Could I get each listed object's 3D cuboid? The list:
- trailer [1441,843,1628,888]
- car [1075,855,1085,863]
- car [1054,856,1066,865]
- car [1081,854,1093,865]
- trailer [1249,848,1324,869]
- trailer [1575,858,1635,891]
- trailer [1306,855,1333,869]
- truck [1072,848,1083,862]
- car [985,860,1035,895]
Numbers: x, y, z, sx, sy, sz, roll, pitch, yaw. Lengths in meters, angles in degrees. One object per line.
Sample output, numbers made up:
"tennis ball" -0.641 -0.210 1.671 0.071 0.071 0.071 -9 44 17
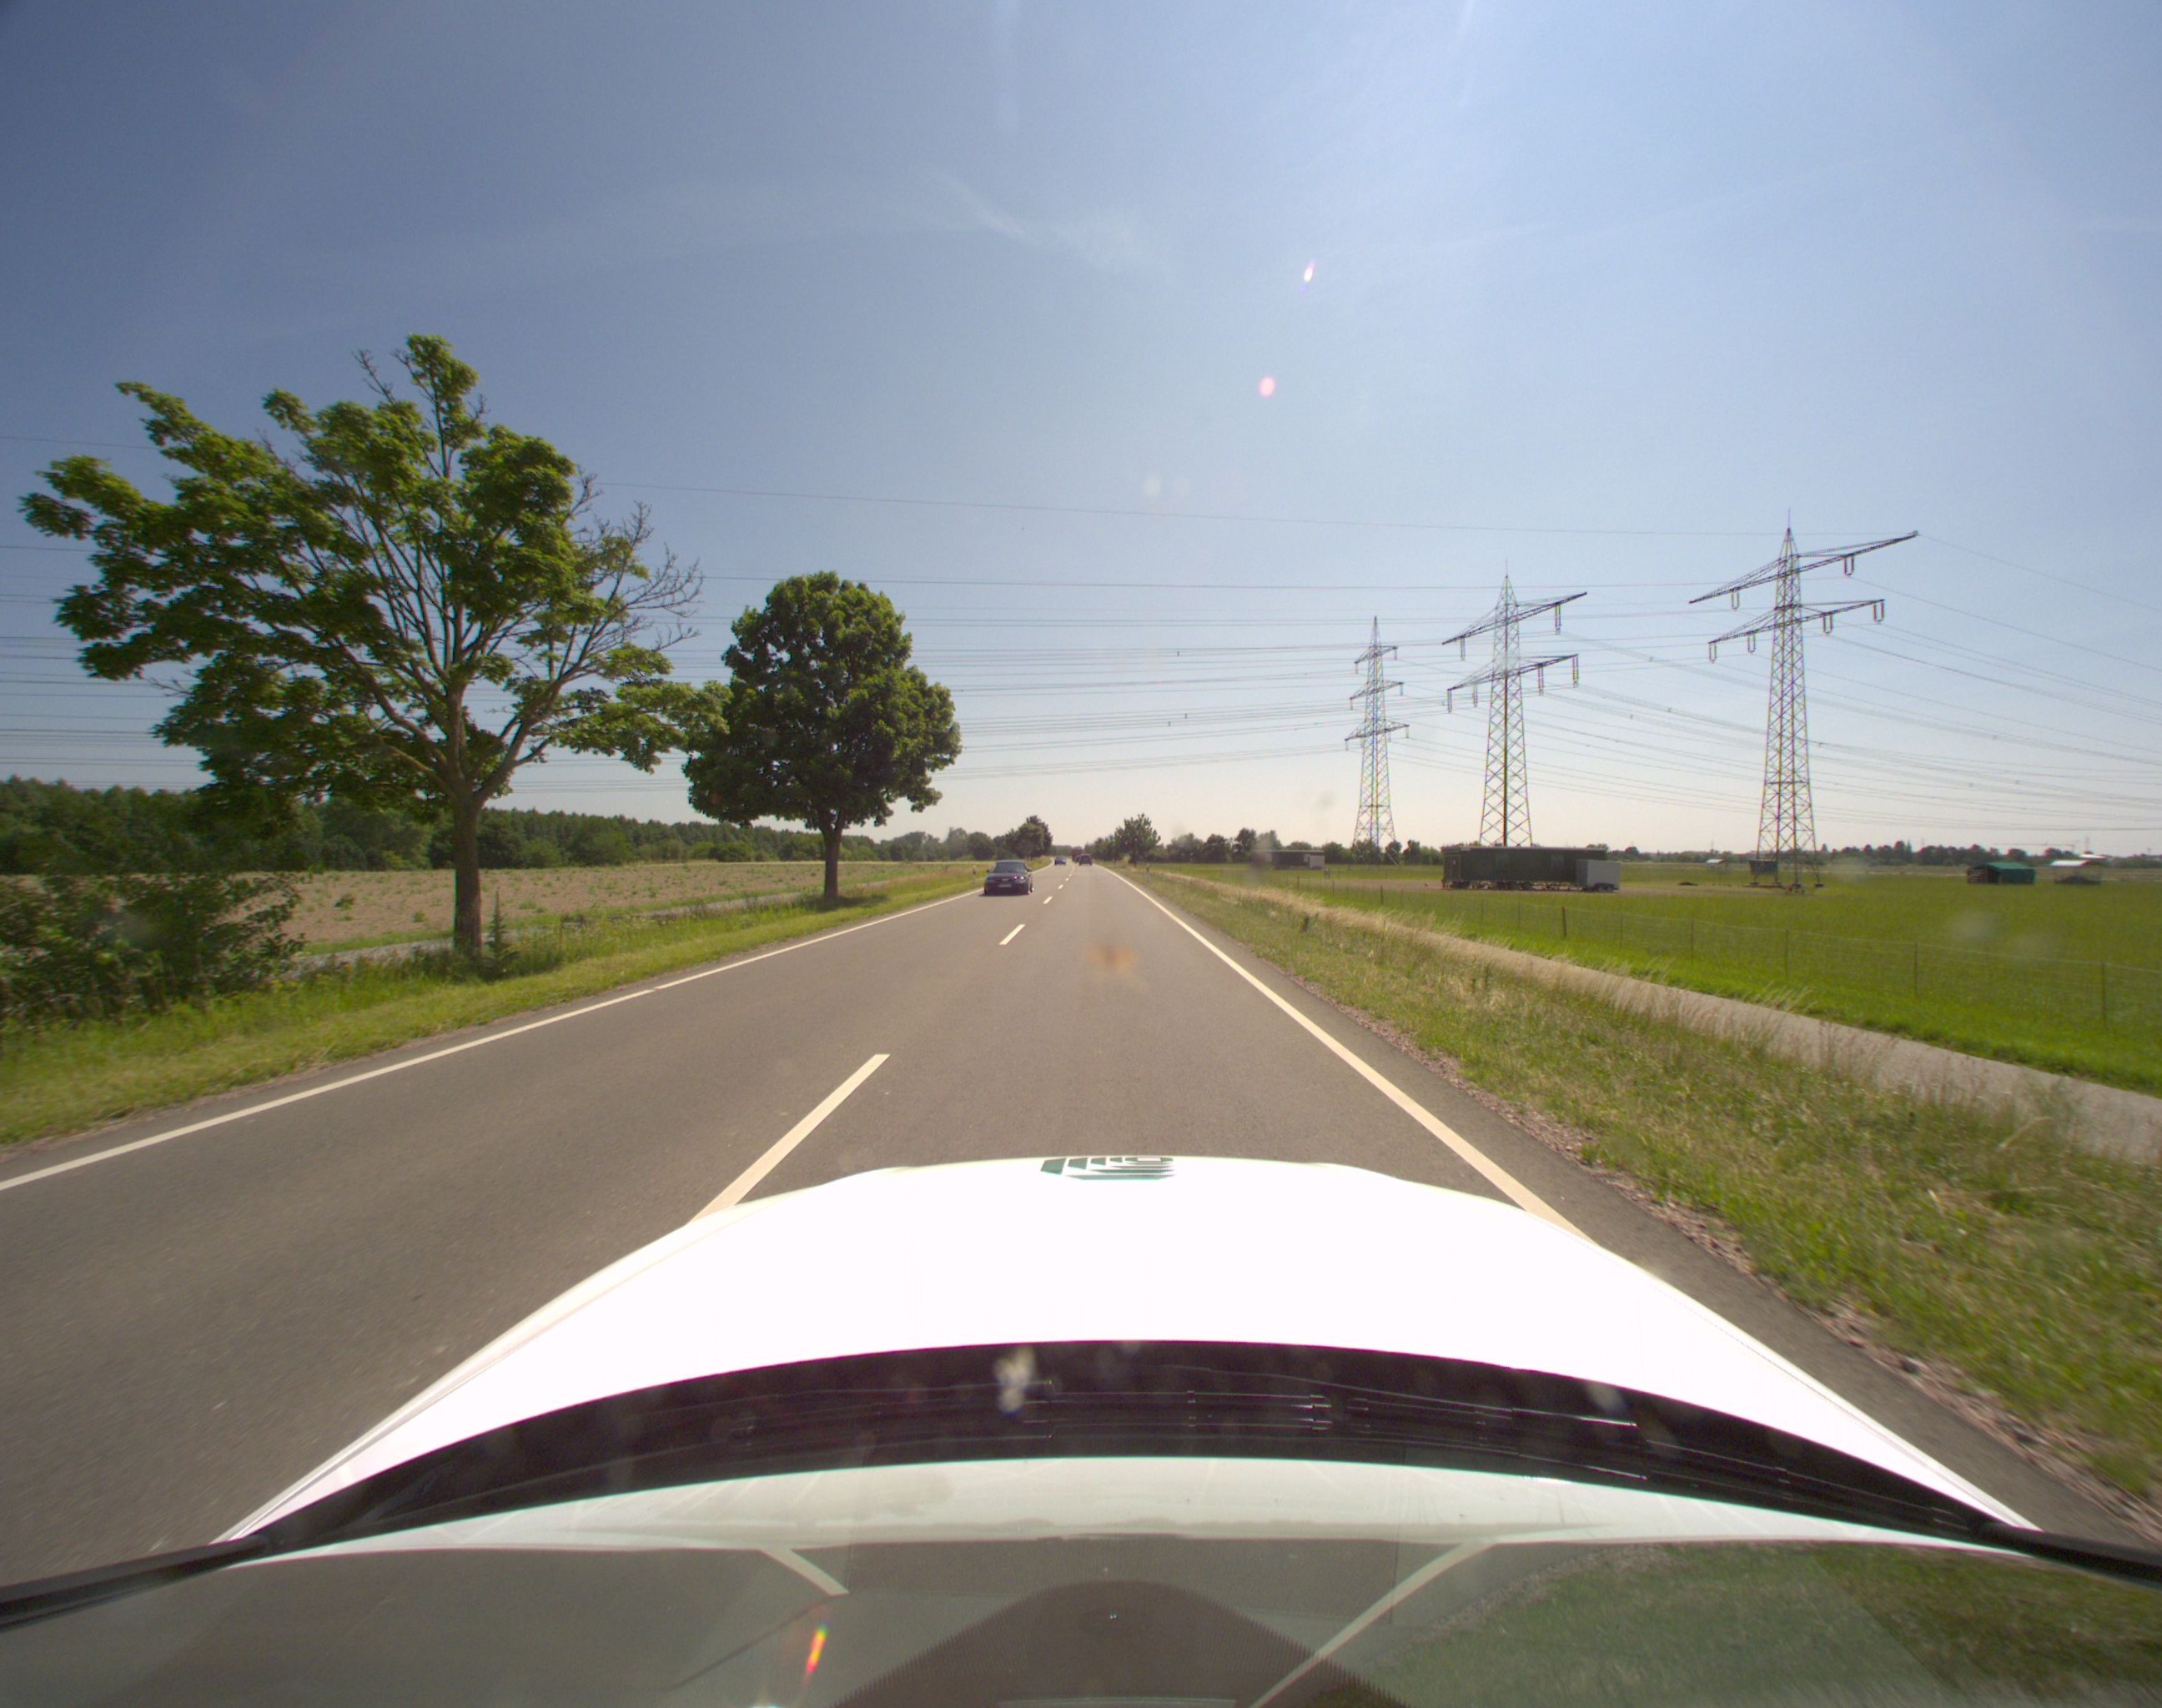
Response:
"trailer" 36.641 0.913 66.101 13.470 3.475 3.275 0 0 -1
"car" -0.174 1.048 158.401 1.845 1.523 3.998 -1 0 -1
"car" -3.367 1.045 129.477 1.728 1.447 4.001 -1 0 1
"car" 0.835 0.819 122.385 1.710 1.694 3.986 -1 0 -1
"trailer" 36.101 0.804 143.357 12.380 3.473 3.802 0 0 -3
"trailer" 40.726 1.567 63.380 3.397 2.462 2.037 0 0 -1
"trailer" 41.186 1.325 140.514 3.979 2.443 1.997 0 0 -5
"truck" -0.879 0.271 200.370 2.365 3.140 8.740 -1 0 -2
"car" -2.866 0.929 33.578 1.699 1.332 3.999 -1 0 0
